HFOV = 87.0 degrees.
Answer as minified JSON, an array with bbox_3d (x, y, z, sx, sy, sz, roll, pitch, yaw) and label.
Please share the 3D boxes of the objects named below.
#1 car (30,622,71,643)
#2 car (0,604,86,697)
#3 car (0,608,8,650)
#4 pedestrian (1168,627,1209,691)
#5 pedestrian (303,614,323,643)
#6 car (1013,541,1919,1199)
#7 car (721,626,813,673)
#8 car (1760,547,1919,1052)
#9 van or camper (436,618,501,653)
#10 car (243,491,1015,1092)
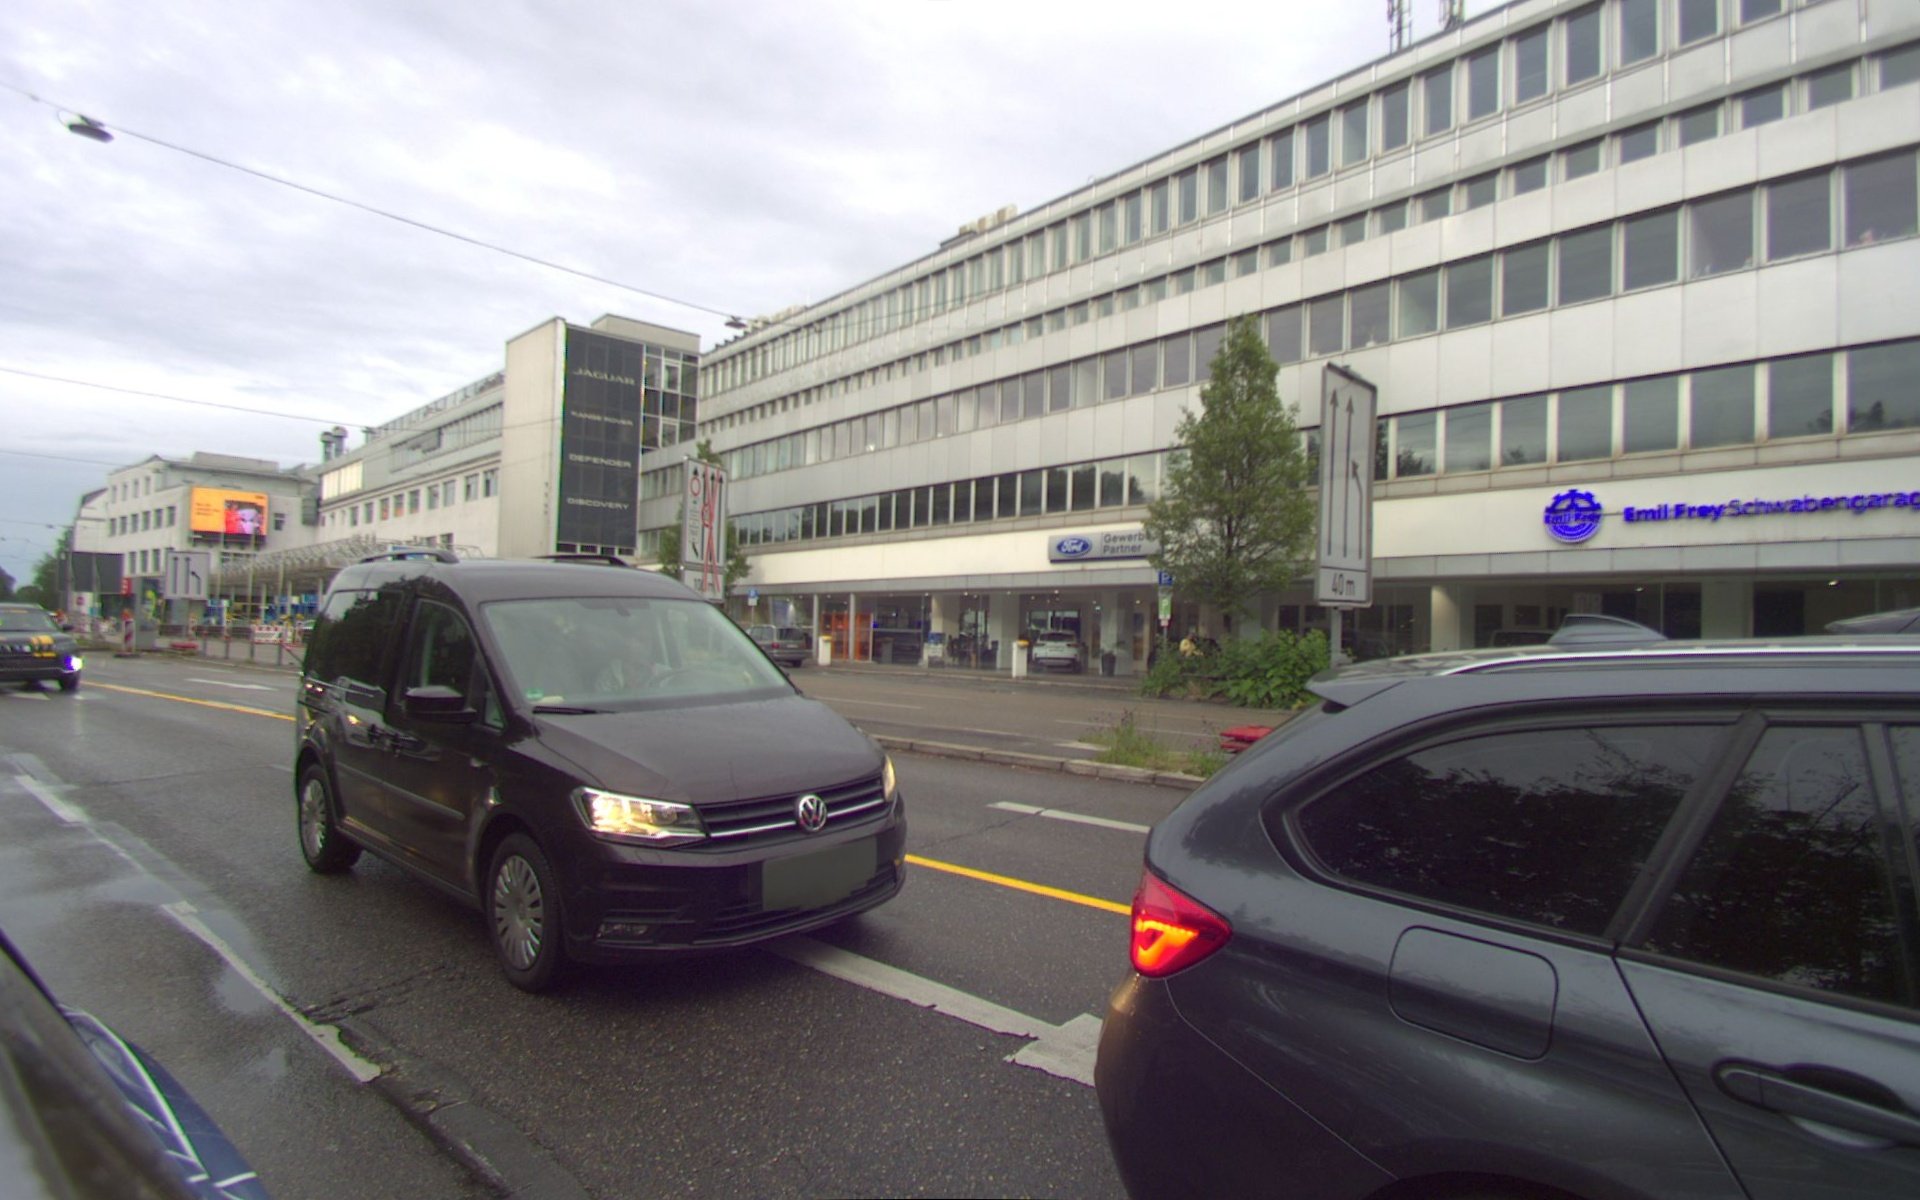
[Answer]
[{"bbox_3d":[-71.015,2.539,78.994,3.760,1.544,1.783,-2,-5,40],"label":"car"},{"bbox_3d":[-18.300,0.906,19.185,4.326,1.611,1.793,-1,0,38],"label":"car"},{"bbox_3d":[-39.653,1.165,40.661,4.333,1.650,1.747,-1,0,43],"label":"car"},{"bbox_3d":[6.662,1.706,29.489,0.750,1.788,0.865,-1,0,-42],"label":"pedestrian"},{"bbox_3d":[-42.427,1.858,66.377,0.942,1.828,0.882,-1,0,45],"label":"pedestrian"},{"bbox_3d":[2.343,0.691,1.069,4.476,1.469,1.757,-1,-3,42],"label":"car"},{"bbox_3d":[-8.274,2.073,43.260,1.895,1.829,4.169,-1,0,-44],"label":"car"},{"bbox_3d":[5.089,0.636,2.741,4.445,1.668,1.789,-1,0,44],"label":"car"},{"bbox_3d":[-28.660,2.036,58.935,4.686,1.938,1.913,-1,-3,45],"label":"van or camper"},{"bbox_3d":[-2.025,0.595,5.277,4.429,1.828,1.880,-1,0,42],"label":"car"}]
